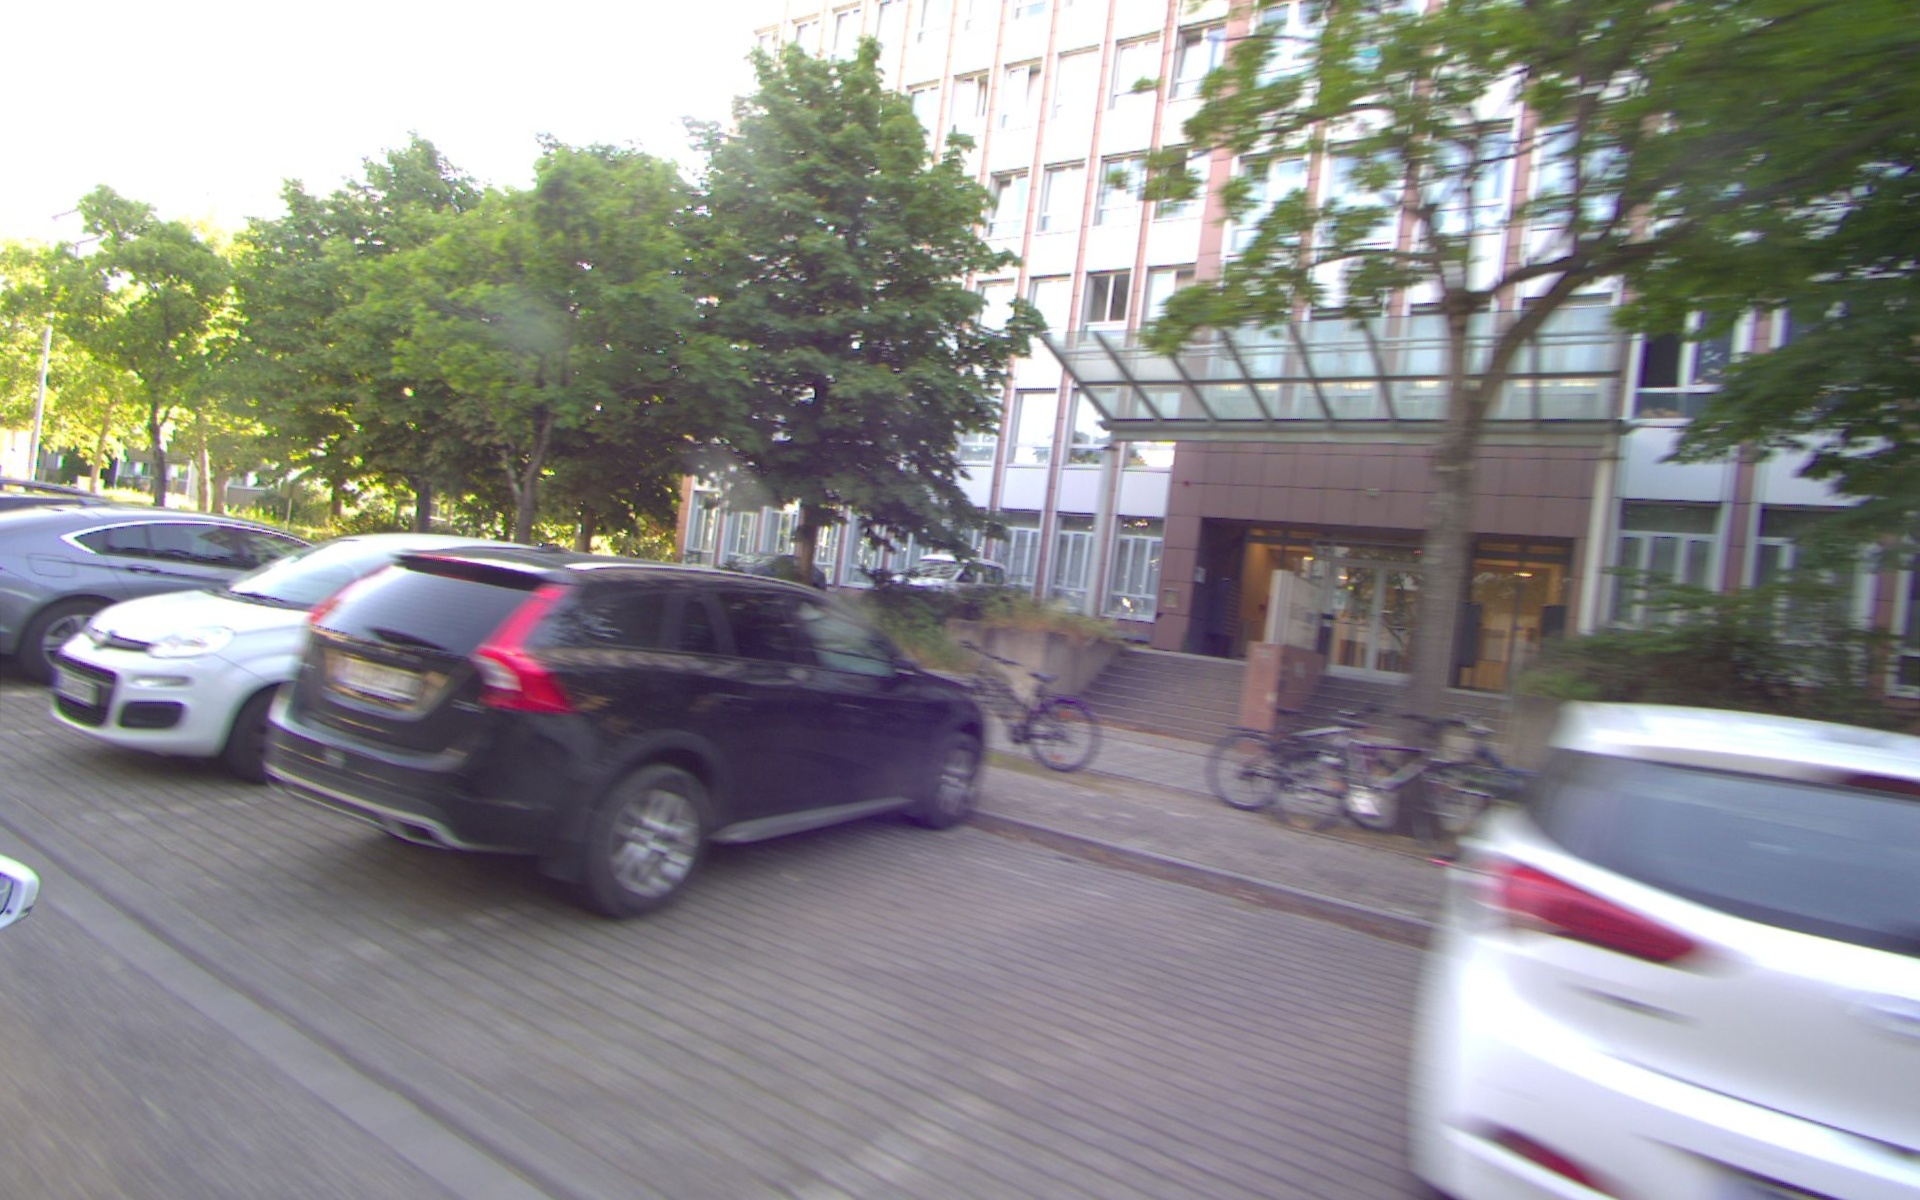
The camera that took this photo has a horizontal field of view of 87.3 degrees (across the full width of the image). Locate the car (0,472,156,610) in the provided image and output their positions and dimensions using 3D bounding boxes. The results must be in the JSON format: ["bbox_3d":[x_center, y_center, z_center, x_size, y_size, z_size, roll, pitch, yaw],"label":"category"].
[{"bbox_3d":[-13.436,-0.947,13.275,1.826,1.675,3.902,7,-1,28],"label":"car"}]

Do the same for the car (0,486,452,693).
[{"bbox_3d":[-6.965,-0.063,9.023,1.523,1.510,4.050,7,0,29],"label":"car"}]

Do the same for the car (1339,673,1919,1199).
[{"bbox_3d":[2.599,1.115,3.448,1.847,1.467,3.758,7,0,29],"label":"car"}]

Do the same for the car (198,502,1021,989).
[{"bbox_3d":[-1.439,0.551,5.808,1.886,1.574,4.255,7,1,27],"label":"car"}]

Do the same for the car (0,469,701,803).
[{"bbox_3d":[-3.882,0.289,7.265,1.522,1.610,4.056,8,-1,25],"label":"car"}]

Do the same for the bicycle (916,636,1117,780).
[{"bbox_3d":[0.543,1.005,9.578,1.753,1.091,0.380,8,0,11],"label":"bicycle"}]

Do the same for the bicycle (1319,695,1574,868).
[{"bbox_3d":[3.693,1.379,7.642,1.757,1.091,0.379,7,0,-10],"label":"bicycle"}]

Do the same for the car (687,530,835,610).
[{"bbox_3d":[-5.914,-0.854,30.483,1.965,1.690,4.314,7,-3,28],"label":"car"}]

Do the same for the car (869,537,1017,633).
[{"bbox_3d":[-0.345,-0.331,26.160,1.965,1.802,4.085,7,-3,28],"label":"car"}]

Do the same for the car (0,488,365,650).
[{"bbox_3d":[-9.077,-0.308,11.086,1.493,1.472,4.050,7,0,29],"label":"car"}]

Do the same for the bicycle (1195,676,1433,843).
[{"bbox_3d":[2.976,1.317,8.562,1.754,1.091,0.380,8,0,21],"label":"bicycle"}]

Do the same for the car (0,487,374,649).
[{"bbox_3d":[-8.956,-0.324,10.989,1.706,1.439,4.051,7,0,28],"label":"car"}]

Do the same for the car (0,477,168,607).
[{"bbox_3d":[-13.318,-0.893,13.330,1.613,1.601,4.050,7,0,29],"label":"car"}]

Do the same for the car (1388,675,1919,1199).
[{"bbox_3d":[2.787,1.119,3.606,1.933,1.485,3.874,5,-1,28],"label":"car"}]
